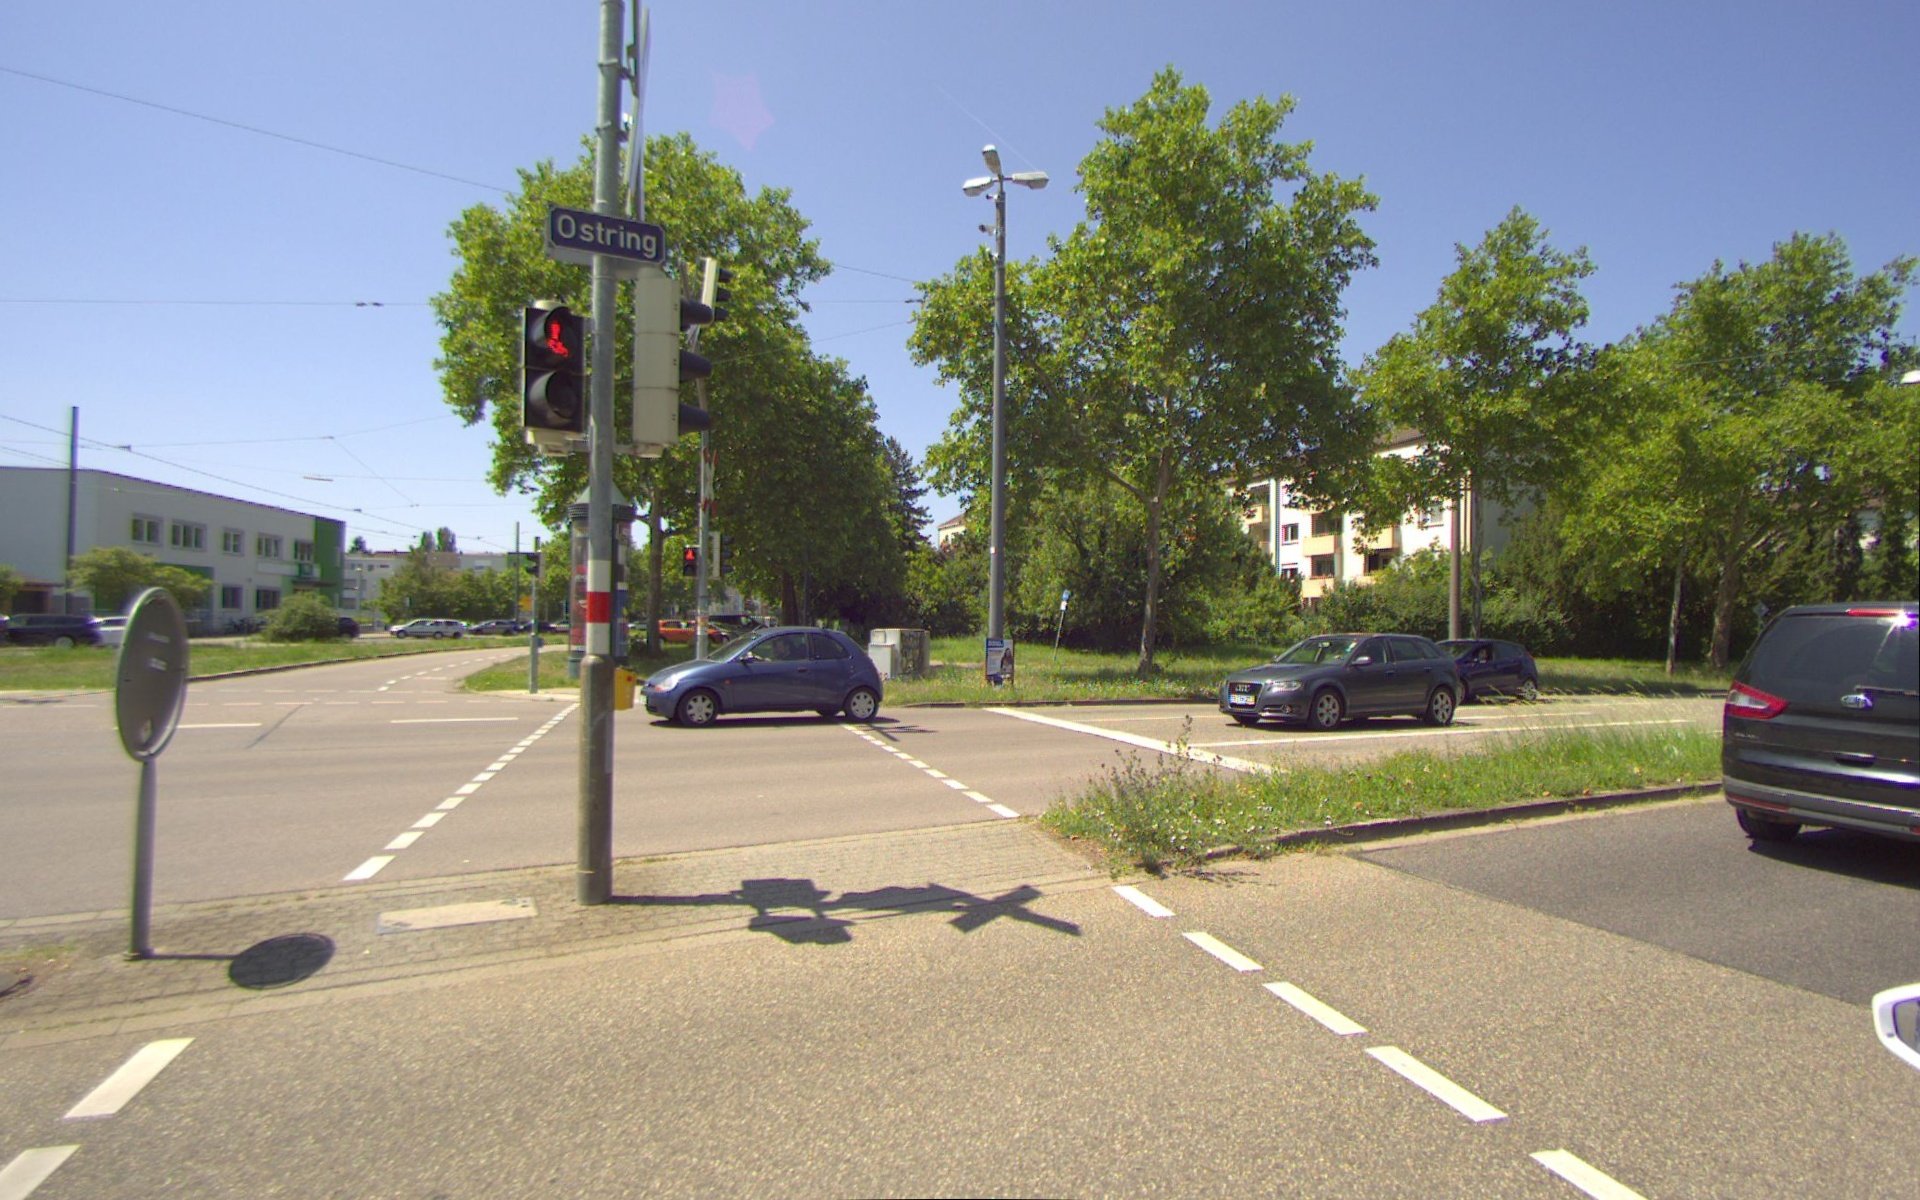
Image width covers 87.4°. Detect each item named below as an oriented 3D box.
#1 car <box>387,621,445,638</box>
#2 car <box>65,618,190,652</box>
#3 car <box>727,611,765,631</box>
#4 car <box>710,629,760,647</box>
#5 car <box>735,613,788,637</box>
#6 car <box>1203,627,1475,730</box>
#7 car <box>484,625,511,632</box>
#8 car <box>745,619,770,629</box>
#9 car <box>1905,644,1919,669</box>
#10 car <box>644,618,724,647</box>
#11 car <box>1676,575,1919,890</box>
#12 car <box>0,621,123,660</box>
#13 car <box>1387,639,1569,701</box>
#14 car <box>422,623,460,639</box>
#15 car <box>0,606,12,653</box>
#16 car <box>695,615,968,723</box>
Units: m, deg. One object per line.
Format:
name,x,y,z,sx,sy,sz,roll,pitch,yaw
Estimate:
car,-41.611,2.281,76.896,3.851,1.221,1.350,2,-1,-32
car,-37.083,1.547,44.884,4.017,1.442,1.930,2,-2,-33
car,-17.605,1.737,82.759,3.008,1.509,1.476,2,-1,-10
car,-14.105,2.366,63.074,3.000,1.099,1.384,1,-2,-16
car,-14.710,1.844,74.309,3.705,1.630,1.619,2,-1,-17
car,5.906,1.177,15.573,4.128,1.413,1.728,2,-3,-30
car,-43.137,2.665,93.675,2.265,0.652,0.769,2,-1,-32
car,-21.679,2.528,107.547,2.672,1.007,1.007,1,-1,-11
car,56.699,3.257,57.548,3.931,1.411,1.883,1,-1,-13
car,-15.002,1.777,54.791,4.065,1.415,1.455,2,0,-12
car,7.277,0.808,7.094,4.593,1.779,1.846,2,-1,-29
car,-35.968,1.587,39.605,4.346,1.430,1.860,2,-2,-36
car,11.864,1.562,23.009,3.815,1.294,1.716,1,-1,-24
car,-40.984,2.458,79.337,2.434,1.221,1.108,2,-1,-39
car,-36.688,1.020,35.673,4.153,1.672,1.766,2,-2,-36
car,-1.949,1.032,15.421,3.819,1.474,1.714,2,-3,-27
